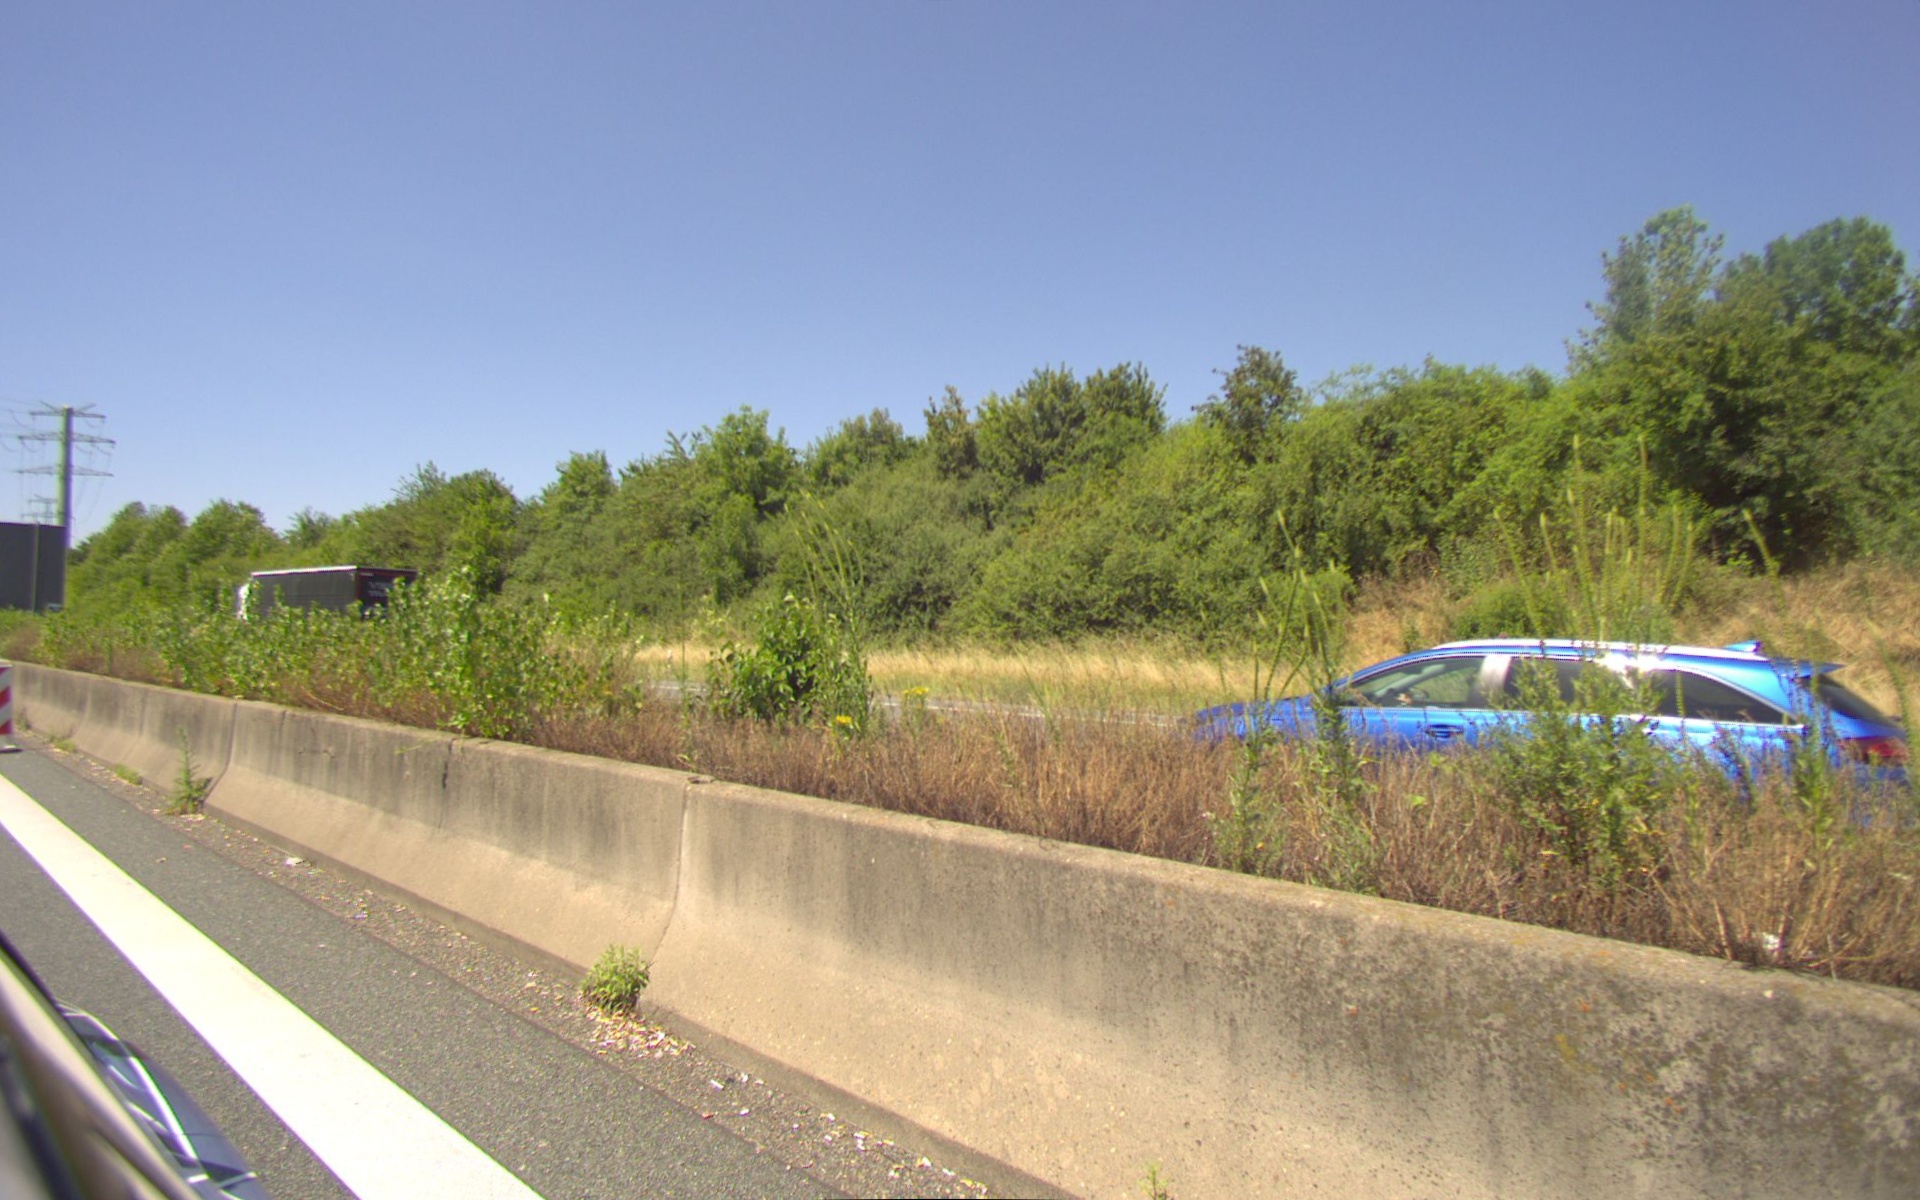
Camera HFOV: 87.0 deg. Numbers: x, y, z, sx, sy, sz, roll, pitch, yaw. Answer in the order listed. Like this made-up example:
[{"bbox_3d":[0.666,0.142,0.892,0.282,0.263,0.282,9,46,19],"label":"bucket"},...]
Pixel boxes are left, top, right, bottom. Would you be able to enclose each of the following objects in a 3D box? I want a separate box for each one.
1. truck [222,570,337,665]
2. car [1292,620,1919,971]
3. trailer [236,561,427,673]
[{"bbox_3d":[-32.402,0.878,48.094,6.407,4.199,2.723,-1,-5,41],"label":"truck"},{"bbox_3d":[4.217,0.999,6.185,3.868,1.666,1.536,-1,-5,41],"label":"car"},{"bbox_3d":[-27.594,0.798,43.908,14.188,4.199,2.724,-1,-5,41],"label":"trailer"}]
